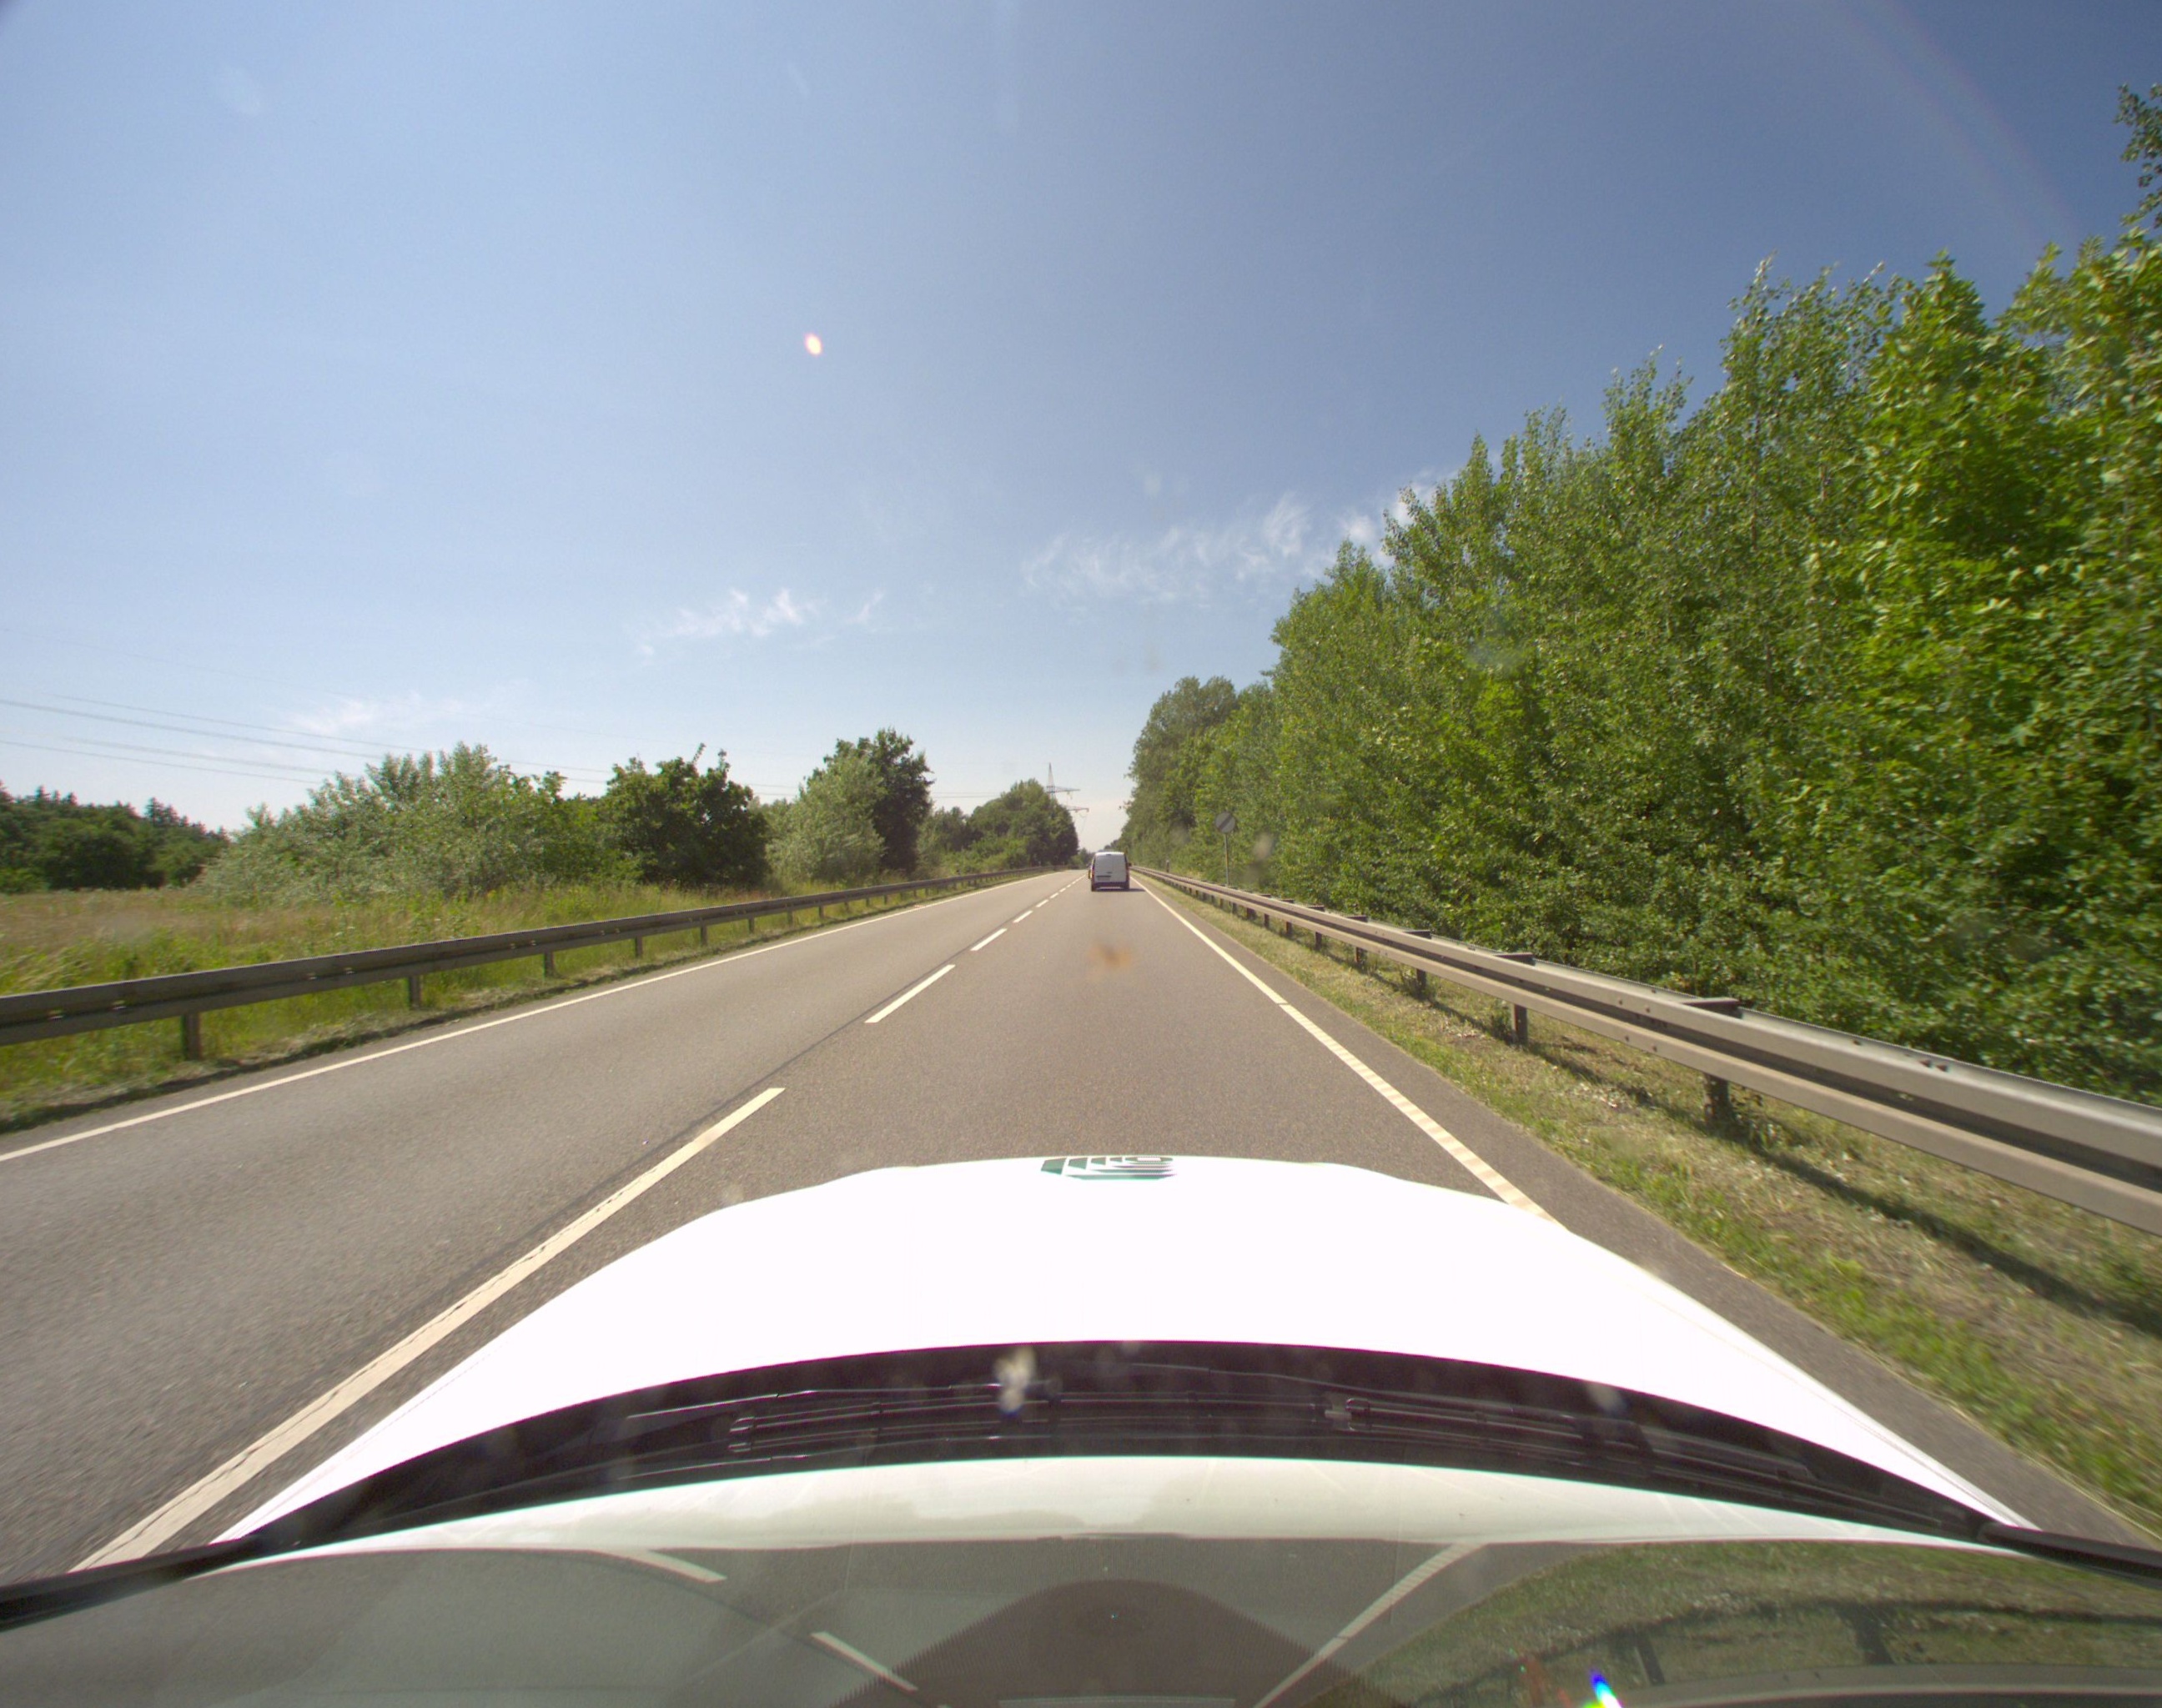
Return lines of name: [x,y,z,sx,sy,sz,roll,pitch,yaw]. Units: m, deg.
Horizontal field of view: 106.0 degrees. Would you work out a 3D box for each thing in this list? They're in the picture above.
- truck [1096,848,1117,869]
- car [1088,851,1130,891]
truck: [4.275,0.761,135.177,3.284,3.172,14.408,0,0,2]
car: [1.295,0.762,38.025,1.868,1.741,4.001,0,0,1]
